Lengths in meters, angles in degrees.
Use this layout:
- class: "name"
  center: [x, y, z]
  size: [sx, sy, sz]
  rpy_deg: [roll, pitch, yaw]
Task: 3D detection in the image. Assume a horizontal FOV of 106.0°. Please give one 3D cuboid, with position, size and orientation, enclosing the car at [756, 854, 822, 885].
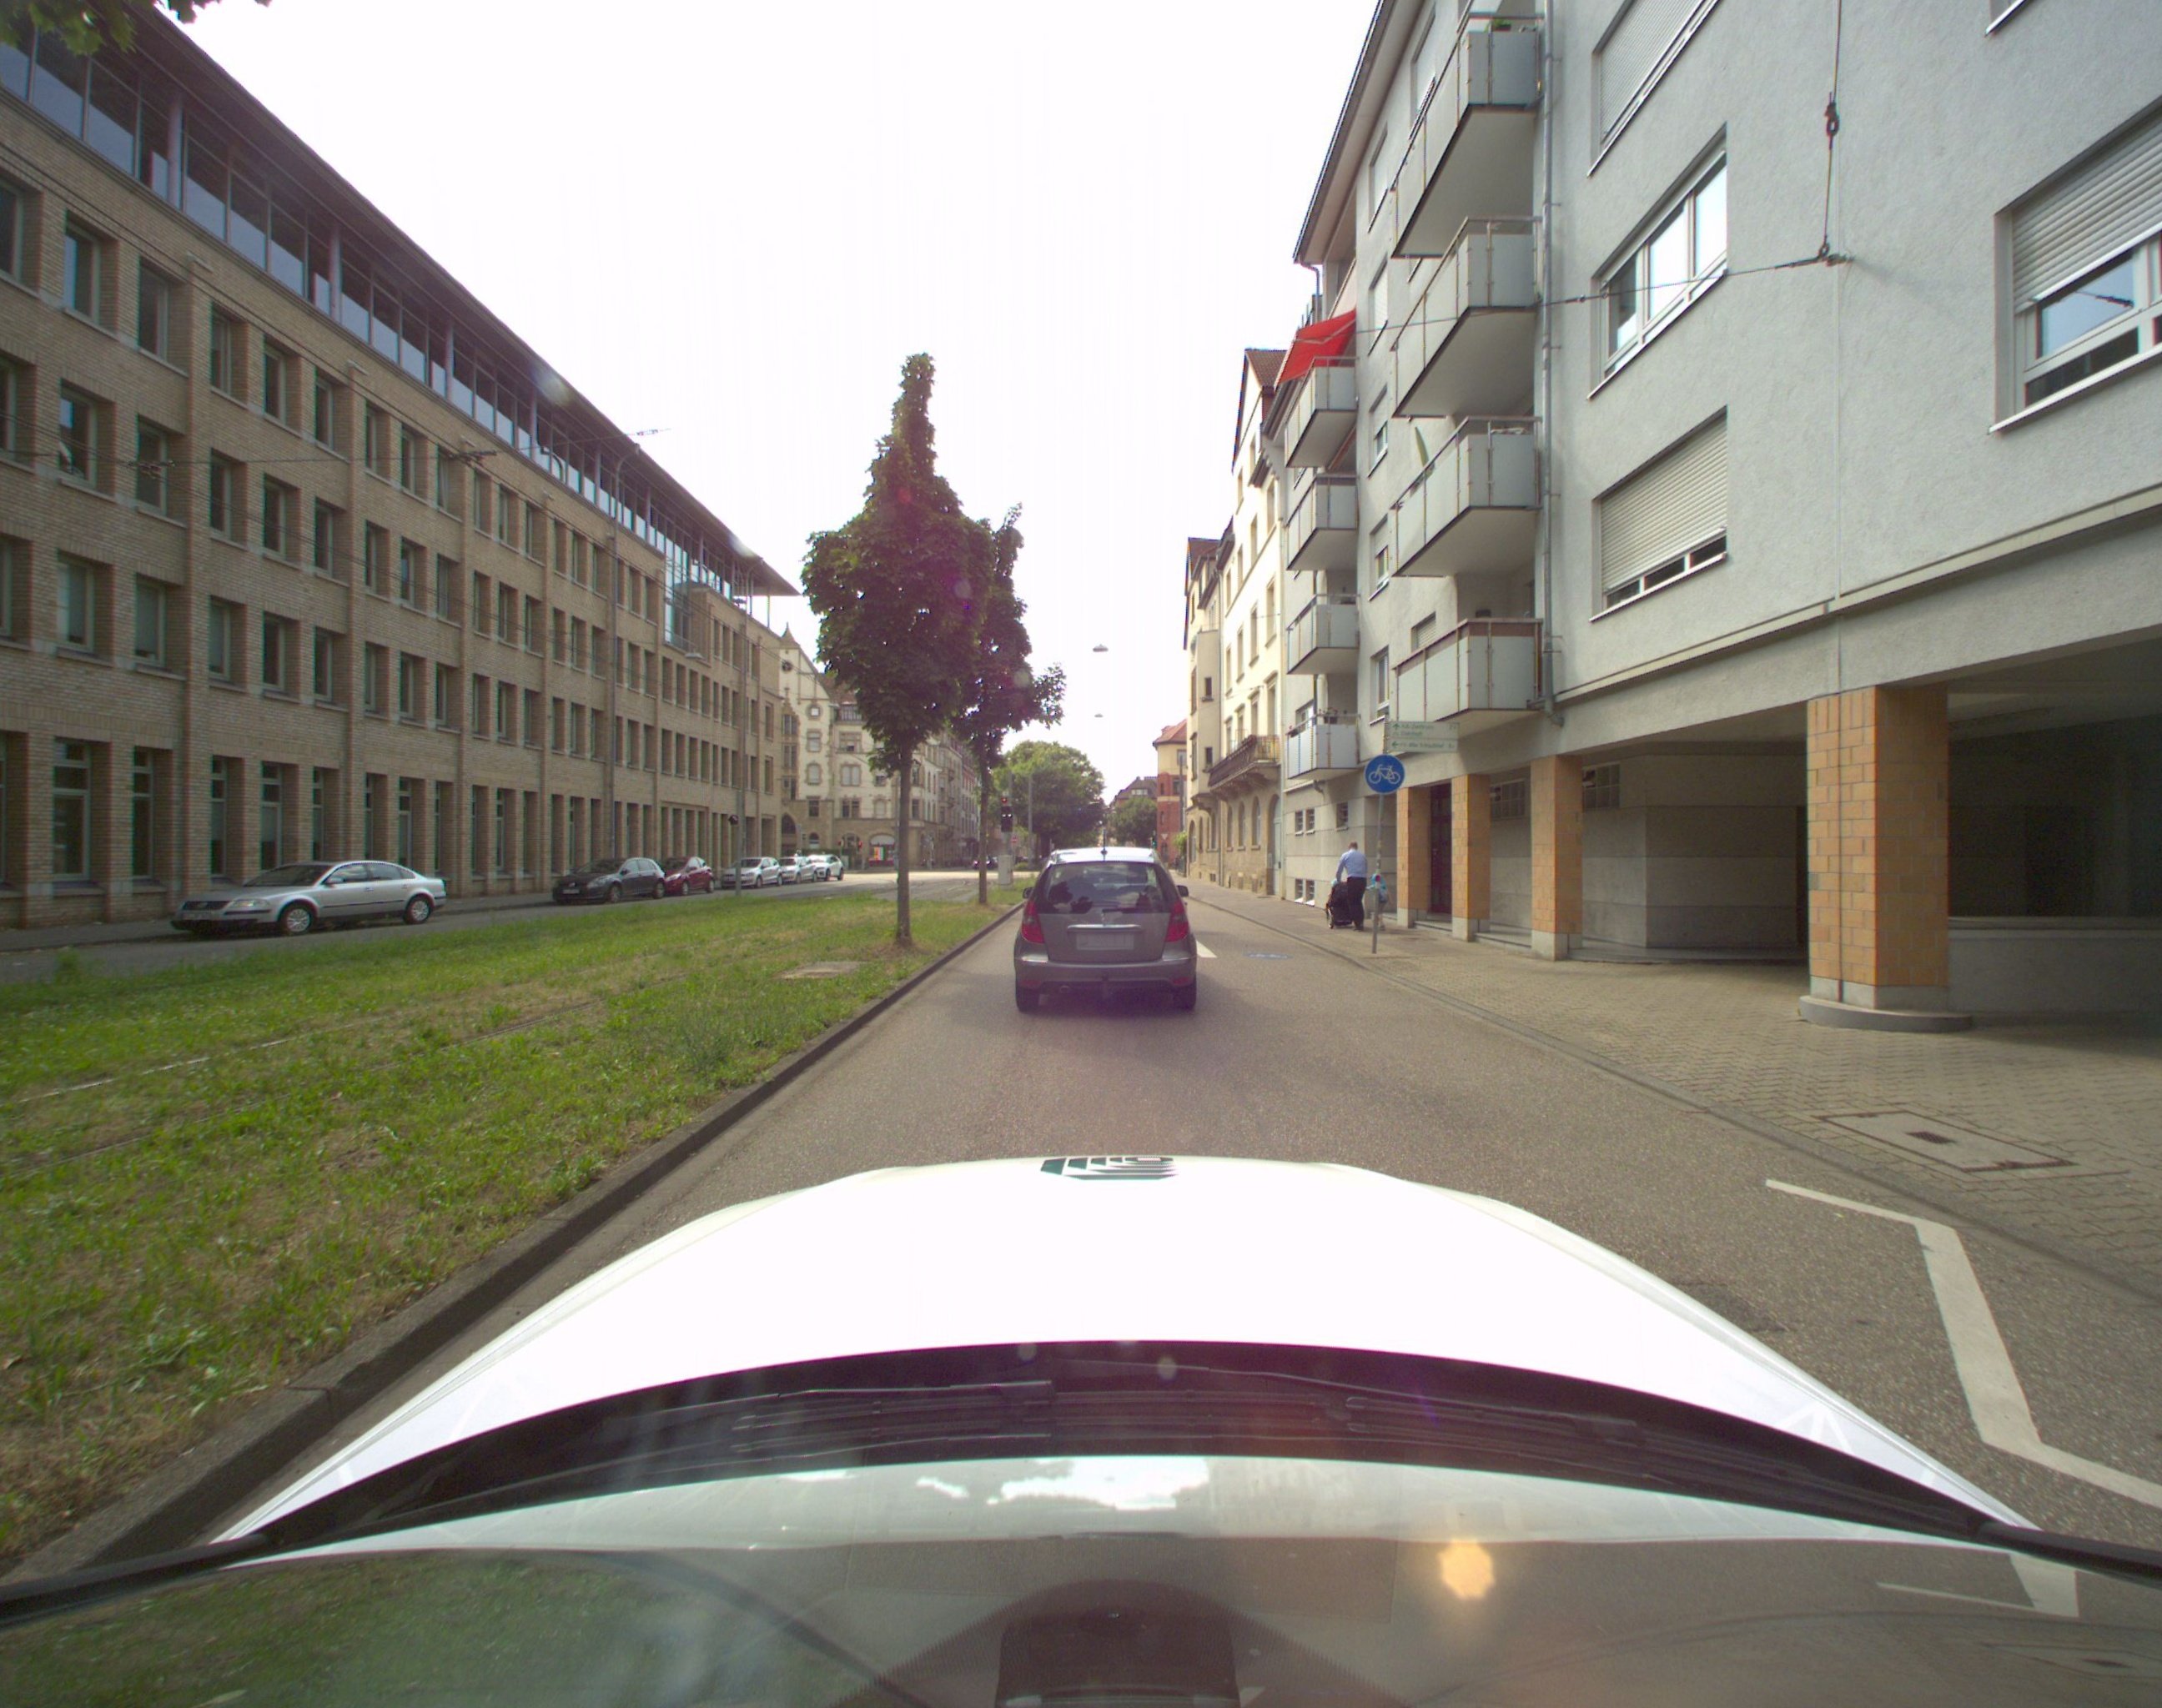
- class: "car"
  center: [-15.391, 0.795, 43.092]
  size: [1.925, 1.530, 4.016]
  rpy_deg: [0, 0, 2]

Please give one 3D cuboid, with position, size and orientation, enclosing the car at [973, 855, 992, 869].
- class: "car"
  center: [-11.625, 0.946, 96.162]
  size: [1.990, 1.618, 3.994]
  rpy_deg: [-1, 0, -4]

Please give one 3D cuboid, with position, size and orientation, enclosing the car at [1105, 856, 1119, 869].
- class: "car"
  center: [3.978, 1.069, 104.073]
  size: [1.744, 1.633, 3.504]
  rpy_deg: [0, 0, 5]

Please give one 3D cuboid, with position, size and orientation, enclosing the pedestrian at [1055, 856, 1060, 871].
- class: "pedestrian"
  center: [-2.712, 1.062, 94.037]
  size: [0.492, 1.725, 0.652]
  rpy_deg: [0, -1, -6]

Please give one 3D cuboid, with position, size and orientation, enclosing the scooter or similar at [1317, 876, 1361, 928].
- class: "scooter or similar"
  center: [5.350, 0.987, 16.942]
  size: [0.590, 1.002, 0.906]
  rpy_deg: [-4, 0, 2]

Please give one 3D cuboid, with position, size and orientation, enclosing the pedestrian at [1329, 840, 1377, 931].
- class: "pedestrian"
  center: [5.377, 0.607, 16.158]
  size: [0.618, 1.738, 0.877]
  rpy_deg: [-2, 0, 2]

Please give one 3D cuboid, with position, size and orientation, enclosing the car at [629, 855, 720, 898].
- class: "car"
  center: [-15.420, 0.821, 31.056]
  size: [1.577, 1.530, 3.551]
  rpy_deg: [0, 0, 2]

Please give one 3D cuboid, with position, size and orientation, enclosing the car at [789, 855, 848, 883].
- class: "car"
  center: [-15.226, 0.849, 47.542]
  size: [1.925, 1.535, 4.260]
  rpy_deg: [0, 0, 2]

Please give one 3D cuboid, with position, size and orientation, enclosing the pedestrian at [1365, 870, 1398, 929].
- class: "pedestrian"
  center: [6.008, 0.896, 16.304]
  size: [0.454, 1.135, 0.494]
  rpy_deg: [-2, 0, 1]

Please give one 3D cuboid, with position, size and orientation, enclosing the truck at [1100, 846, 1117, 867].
- class: "truck"
  center: [3.953, 0.382, 116.943]
  size: [2.113, 2.970, 4.005]
  rpy_deg: [-1, 0, 5]

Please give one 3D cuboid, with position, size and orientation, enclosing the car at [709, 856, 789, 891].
- class: "car"
  center: [-15.275, 0.838, 37.725]
  size: [1.844, 1.530, 4.212]
  rpy_deg: [0, 0, 2]

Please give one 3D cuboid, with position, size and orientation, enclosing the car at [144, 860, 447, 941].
- class: "car"
  center: [-15.561, 0.841, 16.568]
  size: [1.708, 1.396, 4.486]
  rpy_deg: [0, 0, 2]

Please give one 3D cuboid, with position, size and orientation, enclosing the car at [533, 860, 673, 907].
- class: "car"
  center: [-15.398, 0.892, 26.549]
  size: [1.925, 1.396, 4.241]
  rpy_deg: [0, 0, 2]

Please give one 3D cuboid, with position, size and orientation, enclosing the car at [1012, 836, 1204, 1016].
- class: "car"
  center: [0.299, 0.659, 9.206]
  size: [1.716, 1.605, 3.678]
  rpy_deg: [-1, 0, 2]

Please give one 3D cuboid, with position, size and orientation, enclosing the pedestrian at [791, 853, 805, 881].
- class: "pedestrian"
  center: [-18.400, 0.843, 52.893]
  size: [0.763, 1.795, 0.952]
  rpy_deg: [0, -1, -24]

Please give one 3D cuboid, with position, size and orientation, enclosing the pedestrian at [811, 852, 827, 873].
- class: "pedestrian"
  center: [-21.452, 0.689, 66.607]
  size: [1.029, 1.722, 0.767]
  rpy_deg: [1, -1, -43]

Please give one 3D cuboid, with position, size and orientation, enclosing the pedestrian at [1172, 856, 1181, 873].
- class: "pedestrian"
  center: [9.479, 1.020, 80.995]
  size: [0.865, 1.656, 0.737]
  rpy_deg: [0, 0, 5]

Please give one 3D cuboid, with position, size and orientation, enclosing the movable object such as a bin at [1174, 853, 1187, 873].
- class: "movable object such as a bin"
  center: [7.285, 0.648, 59.623]
  size: [0.714, 1.472, 0.980]
  rpy_deg: [-1, -1, -8]

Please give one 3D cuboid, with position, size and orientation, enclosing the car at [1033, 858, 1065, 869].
- class: "car"
  center: [-3.926, 1.126, 98.865]
  size: [1.984, 1.339, 3.954]
  rpy_deg: [0, 0, -38]

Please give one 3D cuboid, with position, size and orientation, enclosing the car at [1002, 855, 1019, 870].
- class: "car"
  center: [-8.447, 0.964, 97.625]
  size: [1.990, 1.728, 3.994]
  rpy_deg: [-1, 0, -4]

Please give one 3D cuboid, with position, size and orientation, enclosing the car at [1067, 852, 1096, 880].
- class: "car"
  center: [0.040, 0.752, 52.127]
  size: [1.716, 1.706, 3.678]
  rpy_deg: [-1, 0, 2]
